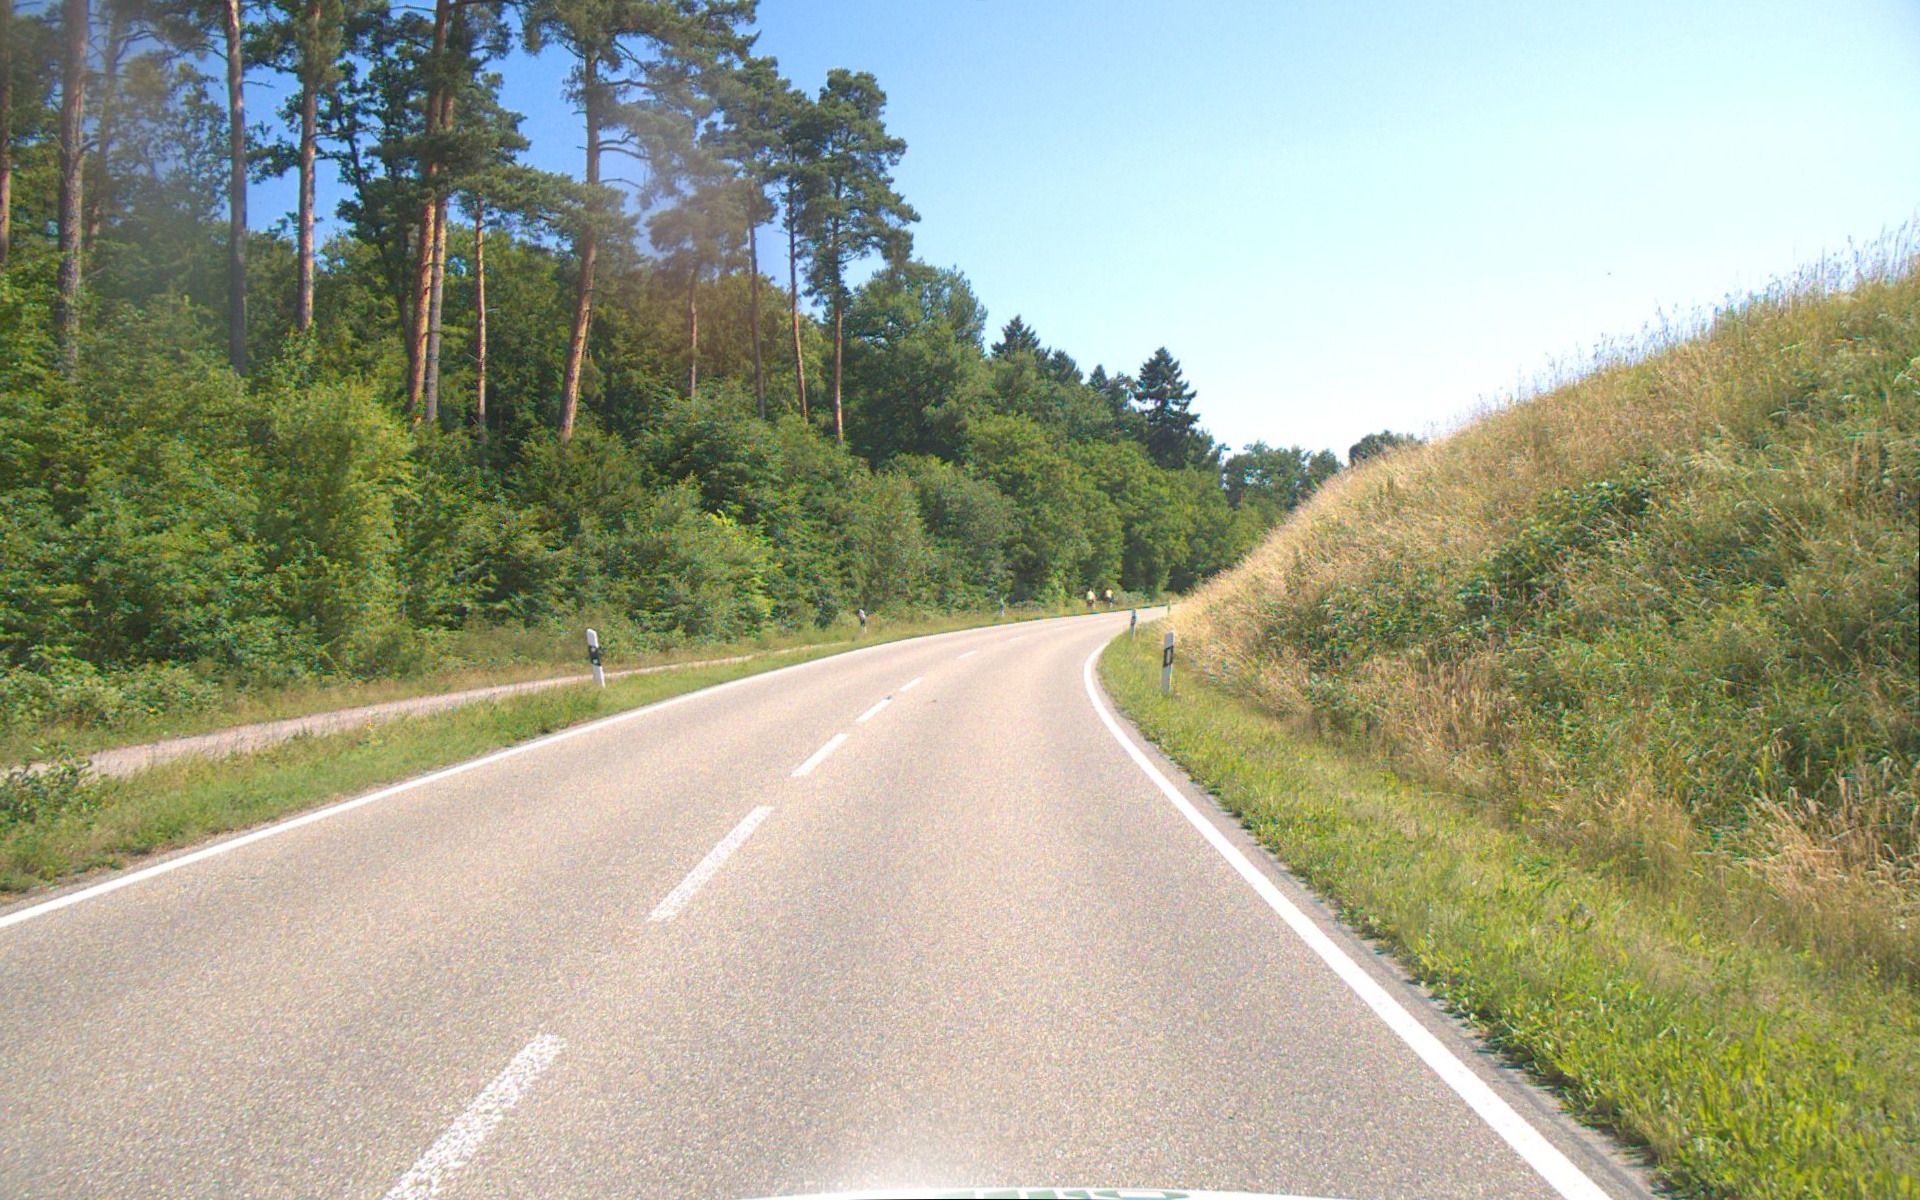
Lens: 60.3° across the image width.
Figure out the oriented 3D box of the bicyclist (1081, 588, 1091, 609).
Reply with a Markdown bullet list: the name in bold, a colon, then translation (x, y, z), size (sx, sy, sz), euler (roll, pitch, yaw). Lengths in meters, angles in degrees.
- **bicyclist**: translation (8.809, -0.126, 115.404), size (0.592, 1.440, 0.703), euler (0, -1, 16)

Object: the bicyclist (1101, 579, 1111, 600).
- **bicyclist**: translation (10.123, -0.721, 114.554), size (0.592, 1.440, 0.703), euler (-1, 1, 16)

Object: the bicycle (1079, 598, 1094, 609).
- **bicycle**: translation (8.818, 0.256, 115.436), size (0.606, 0.693, 2.138), euler (-2, 0, 16)

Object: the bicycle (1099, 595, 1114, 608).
- **bicycle**: translation (10.139, 0.094, 114.498), size (0.626, 0.802, 2.138), euler (-2, 0, 16)
